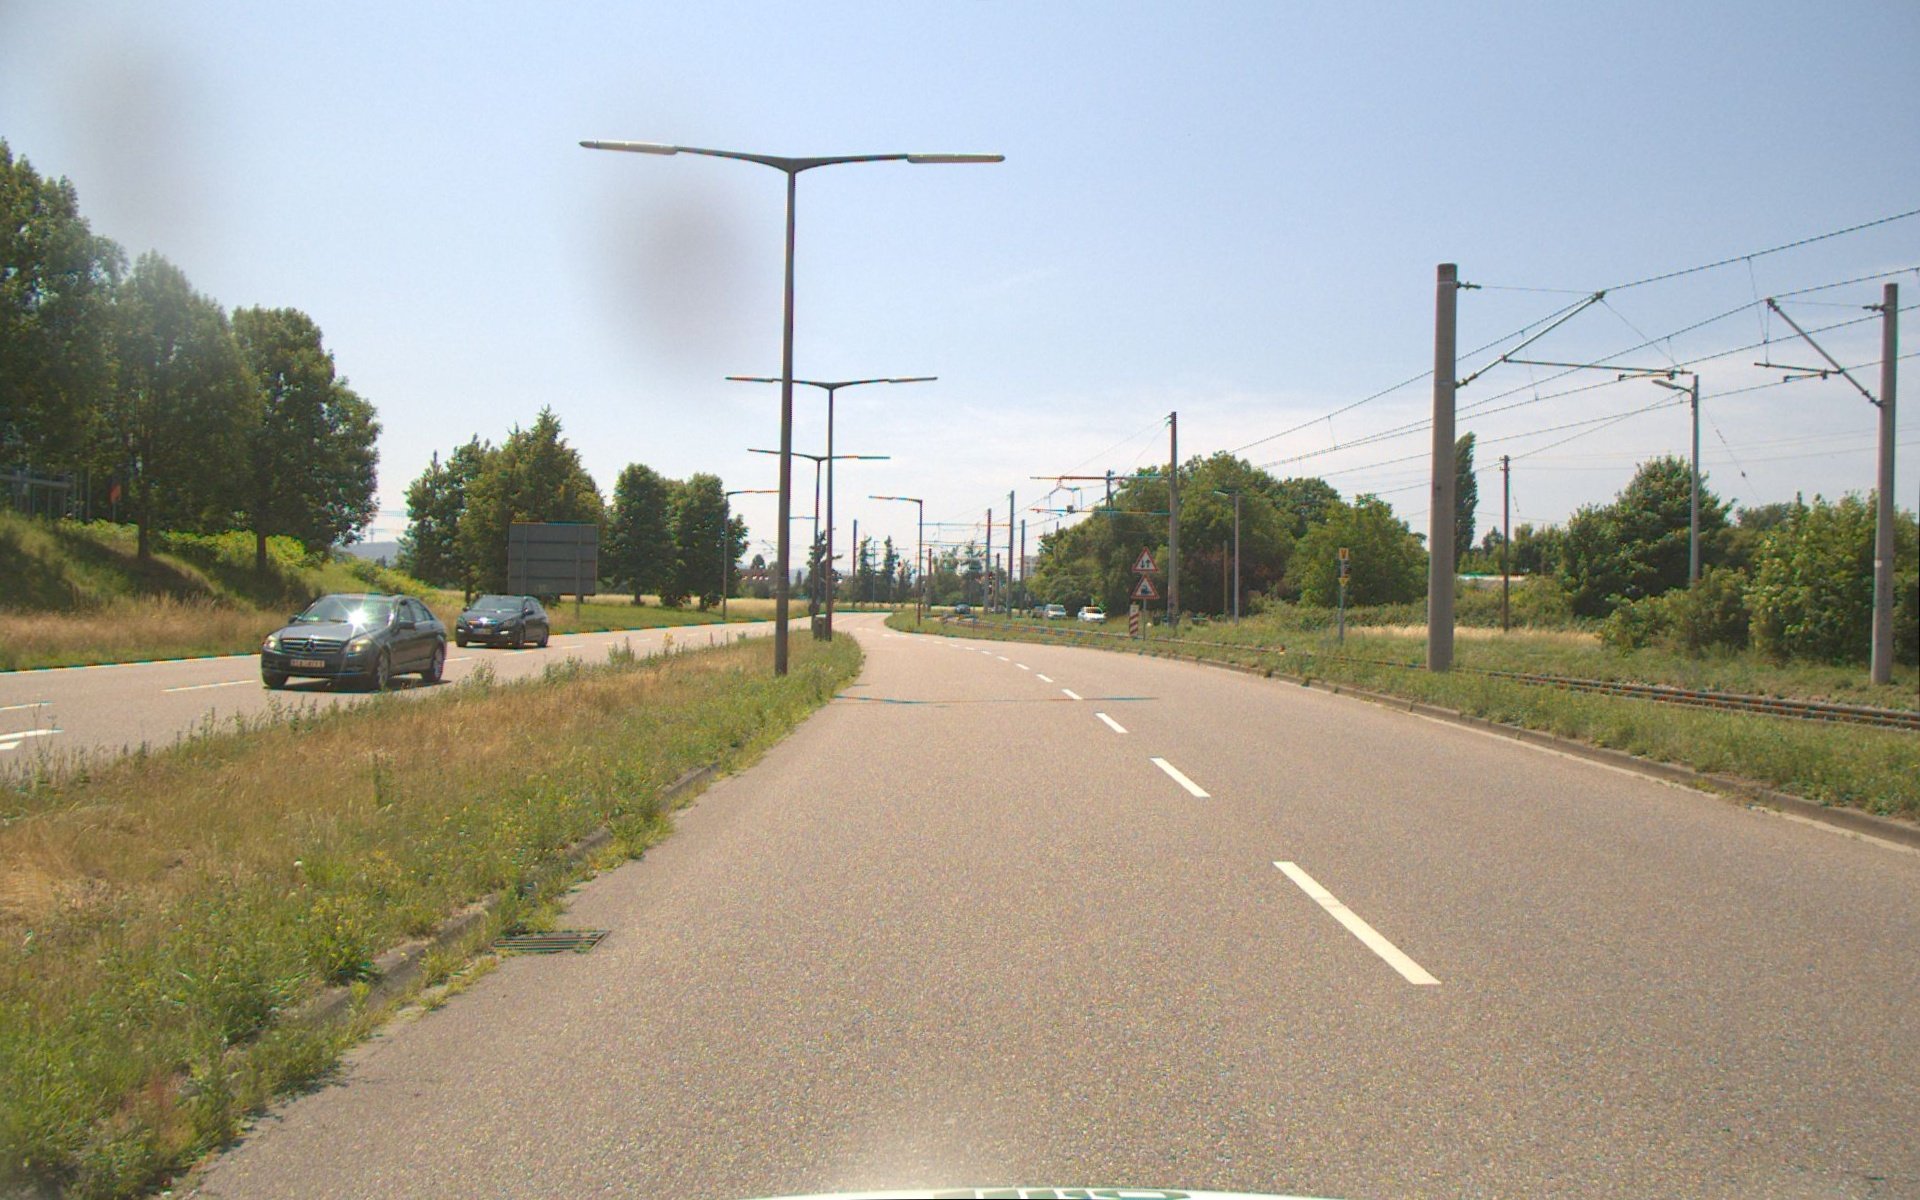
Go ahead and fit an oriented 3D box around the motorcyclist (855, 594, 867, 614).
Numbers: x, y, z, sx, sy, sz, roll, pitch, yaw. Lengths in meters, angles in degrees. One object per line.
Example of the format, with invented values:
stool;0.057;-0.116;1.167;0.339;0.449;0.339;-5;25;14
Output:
motorcyclist;-12.051;0.488;201.006;1.205;2.392;1.106;3;-1;1

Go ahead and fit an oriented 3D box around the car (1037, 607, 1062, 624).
car;7.978;1.356;147.204;1.639;1.422;3.646;3;-1;-6

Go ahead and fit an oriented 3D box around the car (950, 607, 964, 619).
car;-0.437;1.945;248.148;1.373;1.802;3.256;2;-1;12

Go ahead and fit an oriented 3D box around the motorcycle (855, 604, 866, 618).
motorcycle;-12.094;1.314;200.704;0.969;1.608;3.401;3;-1;2

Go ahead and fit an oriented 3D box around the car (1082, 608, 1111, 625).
car;10.175;1.240;123.643;1.533;1.200;3.074;1;0;-8

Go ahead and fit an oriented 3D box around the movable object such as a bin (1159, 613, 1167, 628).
movable object such as a bin;14.494;1.469;117.993;0.513;1.068;0.500;1;0;6

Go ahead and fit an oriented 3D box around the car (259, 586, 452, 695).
car;-9.521;0.599;26.385;1.658;1.518;3.998;3;0;-2

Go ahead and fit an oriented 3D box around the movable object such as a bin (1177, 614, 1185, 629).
movable object such as a bin;15.728;1.525;117.841;0.513;1.068;0.500;1;0;6

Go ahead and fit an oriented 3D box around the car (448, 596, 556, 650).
car;-12.730;0.611;46.256;1.954;1.383;4.662;1;0;-4
